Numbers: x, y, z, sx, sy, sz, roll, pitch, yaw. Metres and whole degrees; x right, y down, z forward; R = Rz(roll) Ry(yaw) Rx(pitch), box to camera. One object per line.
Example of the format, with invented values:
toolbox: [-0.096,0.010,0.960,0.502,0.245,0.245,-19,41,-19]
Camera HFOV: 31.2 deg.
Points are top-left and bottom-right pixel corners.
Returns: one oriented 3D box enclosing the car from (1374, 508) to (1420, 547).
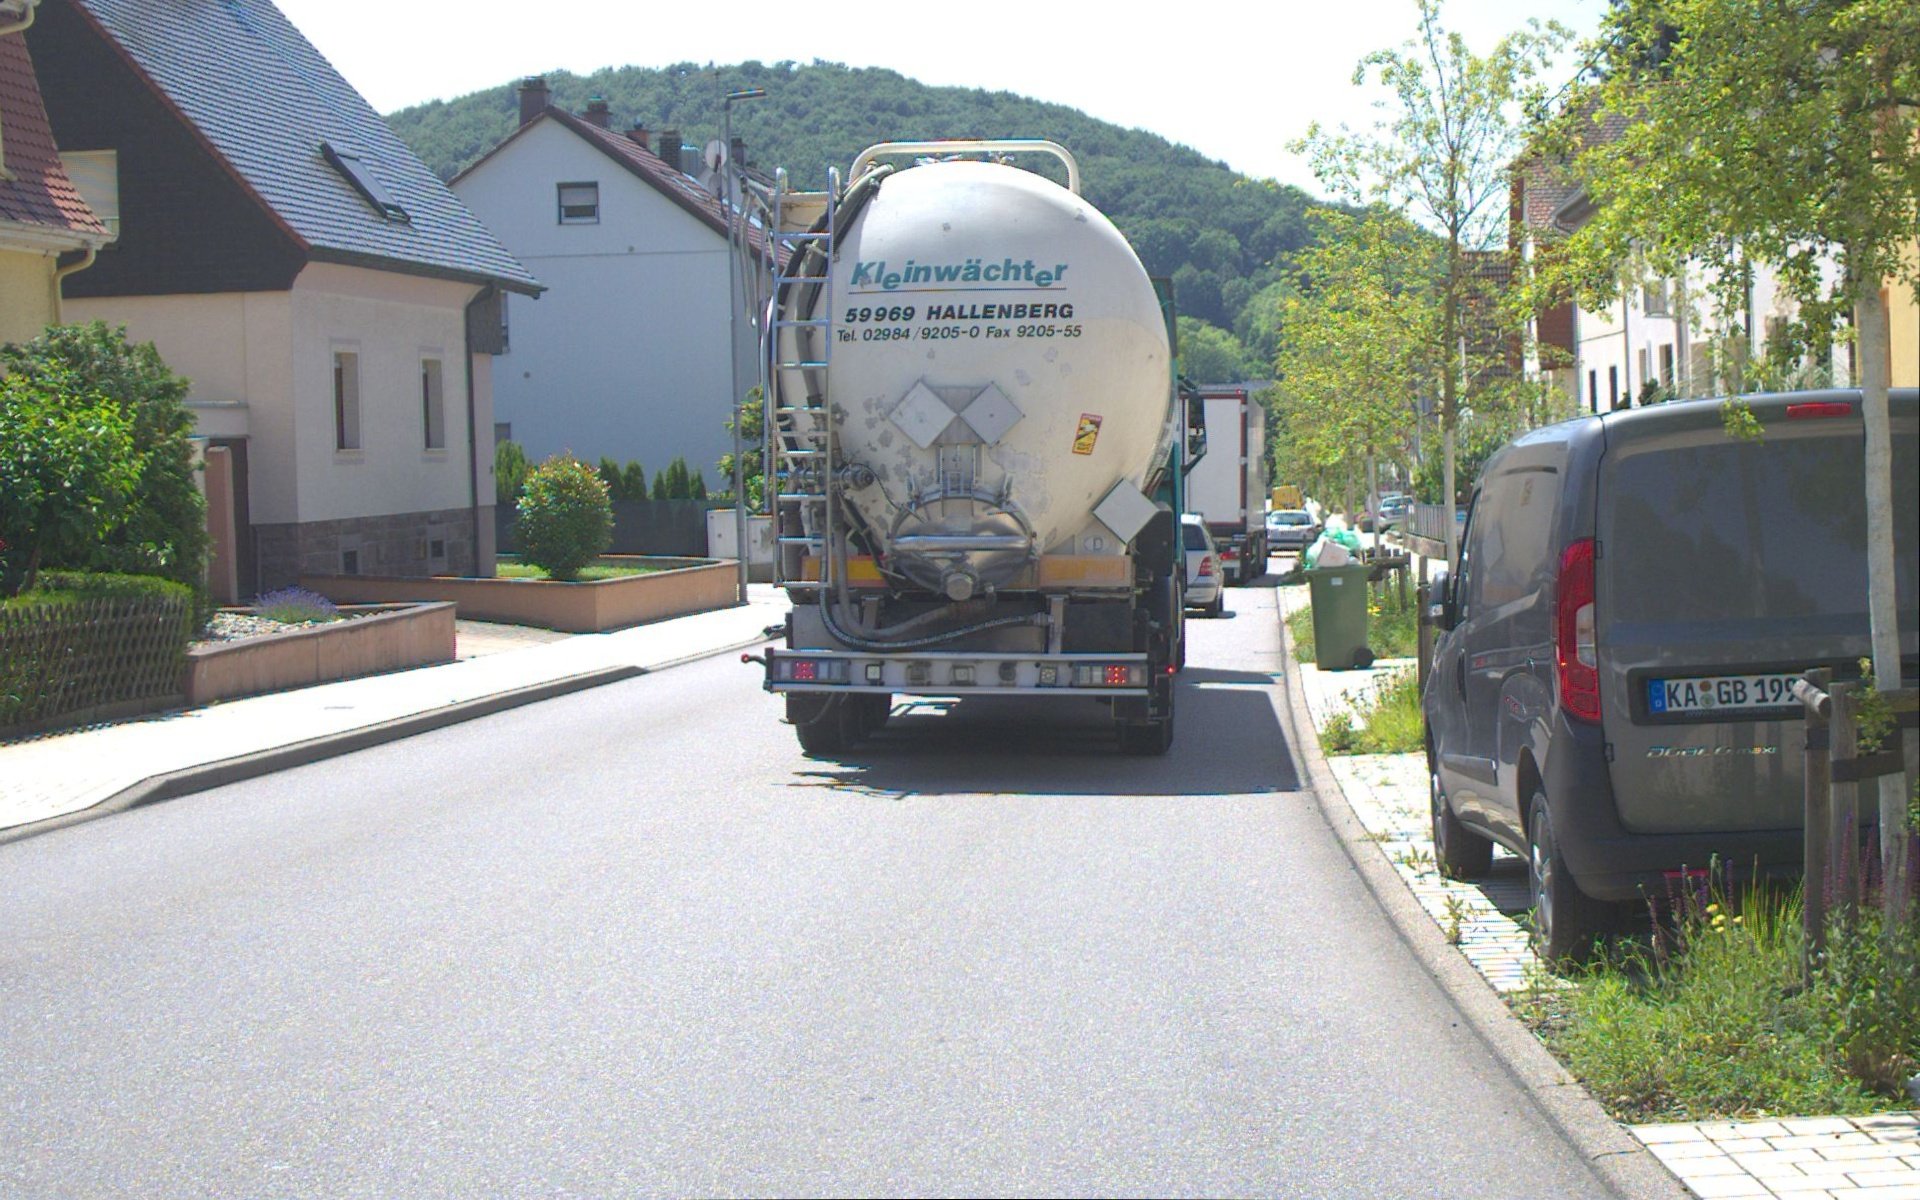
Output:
car: [17.783,-2.949,139.915,1.791,1.536,4.518,-1,1,7]

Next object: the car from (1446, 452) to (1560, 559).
car: [11.297,-1.961,71.768,1.852,1.964,4.773,-6,1,5]

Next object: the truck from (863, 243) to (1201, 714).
truck: [0.805,-1.125,31.781,2.809,3.923,6.099,0,2,4]

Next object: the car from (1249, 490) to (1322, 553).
car: [9.927,-2.412,105.072,1.994,1.815,4.000,-2,1,3]

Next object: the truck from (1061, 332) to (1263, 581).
truck: [4.360,-3.047,74.369,3.910,4.878,9.796,-2,2,3]

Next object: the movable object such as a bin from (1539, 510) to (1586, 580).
movable object such as a bin: [10.082,-0.919,57.498,0.684,1.111,0.812,-4,0,11]

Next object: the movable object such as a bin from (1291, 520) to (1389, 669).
movable object such as a bin: [3.746,-0.067,33.956,0.792,1.390,0.925,-5,1,3]

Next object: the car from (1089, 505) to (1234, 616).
car: [3.135,-0.636,52.794,1.909,1.549,3.999,-2,2,7]

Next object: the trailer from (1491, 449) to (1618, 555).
trailer: [11.536,-1.897,66.673,2.267,2.007,1.324,-1,2,-42]

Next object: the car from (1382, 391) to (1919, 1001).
car: [2.746,0.220,12.899,1.855,1.836,4.671,-2,2,2]

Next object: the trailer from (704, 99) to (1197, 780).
trailer: [0.295,-1.052,25.400,2.796,3.987,10.322,0,1,5]
